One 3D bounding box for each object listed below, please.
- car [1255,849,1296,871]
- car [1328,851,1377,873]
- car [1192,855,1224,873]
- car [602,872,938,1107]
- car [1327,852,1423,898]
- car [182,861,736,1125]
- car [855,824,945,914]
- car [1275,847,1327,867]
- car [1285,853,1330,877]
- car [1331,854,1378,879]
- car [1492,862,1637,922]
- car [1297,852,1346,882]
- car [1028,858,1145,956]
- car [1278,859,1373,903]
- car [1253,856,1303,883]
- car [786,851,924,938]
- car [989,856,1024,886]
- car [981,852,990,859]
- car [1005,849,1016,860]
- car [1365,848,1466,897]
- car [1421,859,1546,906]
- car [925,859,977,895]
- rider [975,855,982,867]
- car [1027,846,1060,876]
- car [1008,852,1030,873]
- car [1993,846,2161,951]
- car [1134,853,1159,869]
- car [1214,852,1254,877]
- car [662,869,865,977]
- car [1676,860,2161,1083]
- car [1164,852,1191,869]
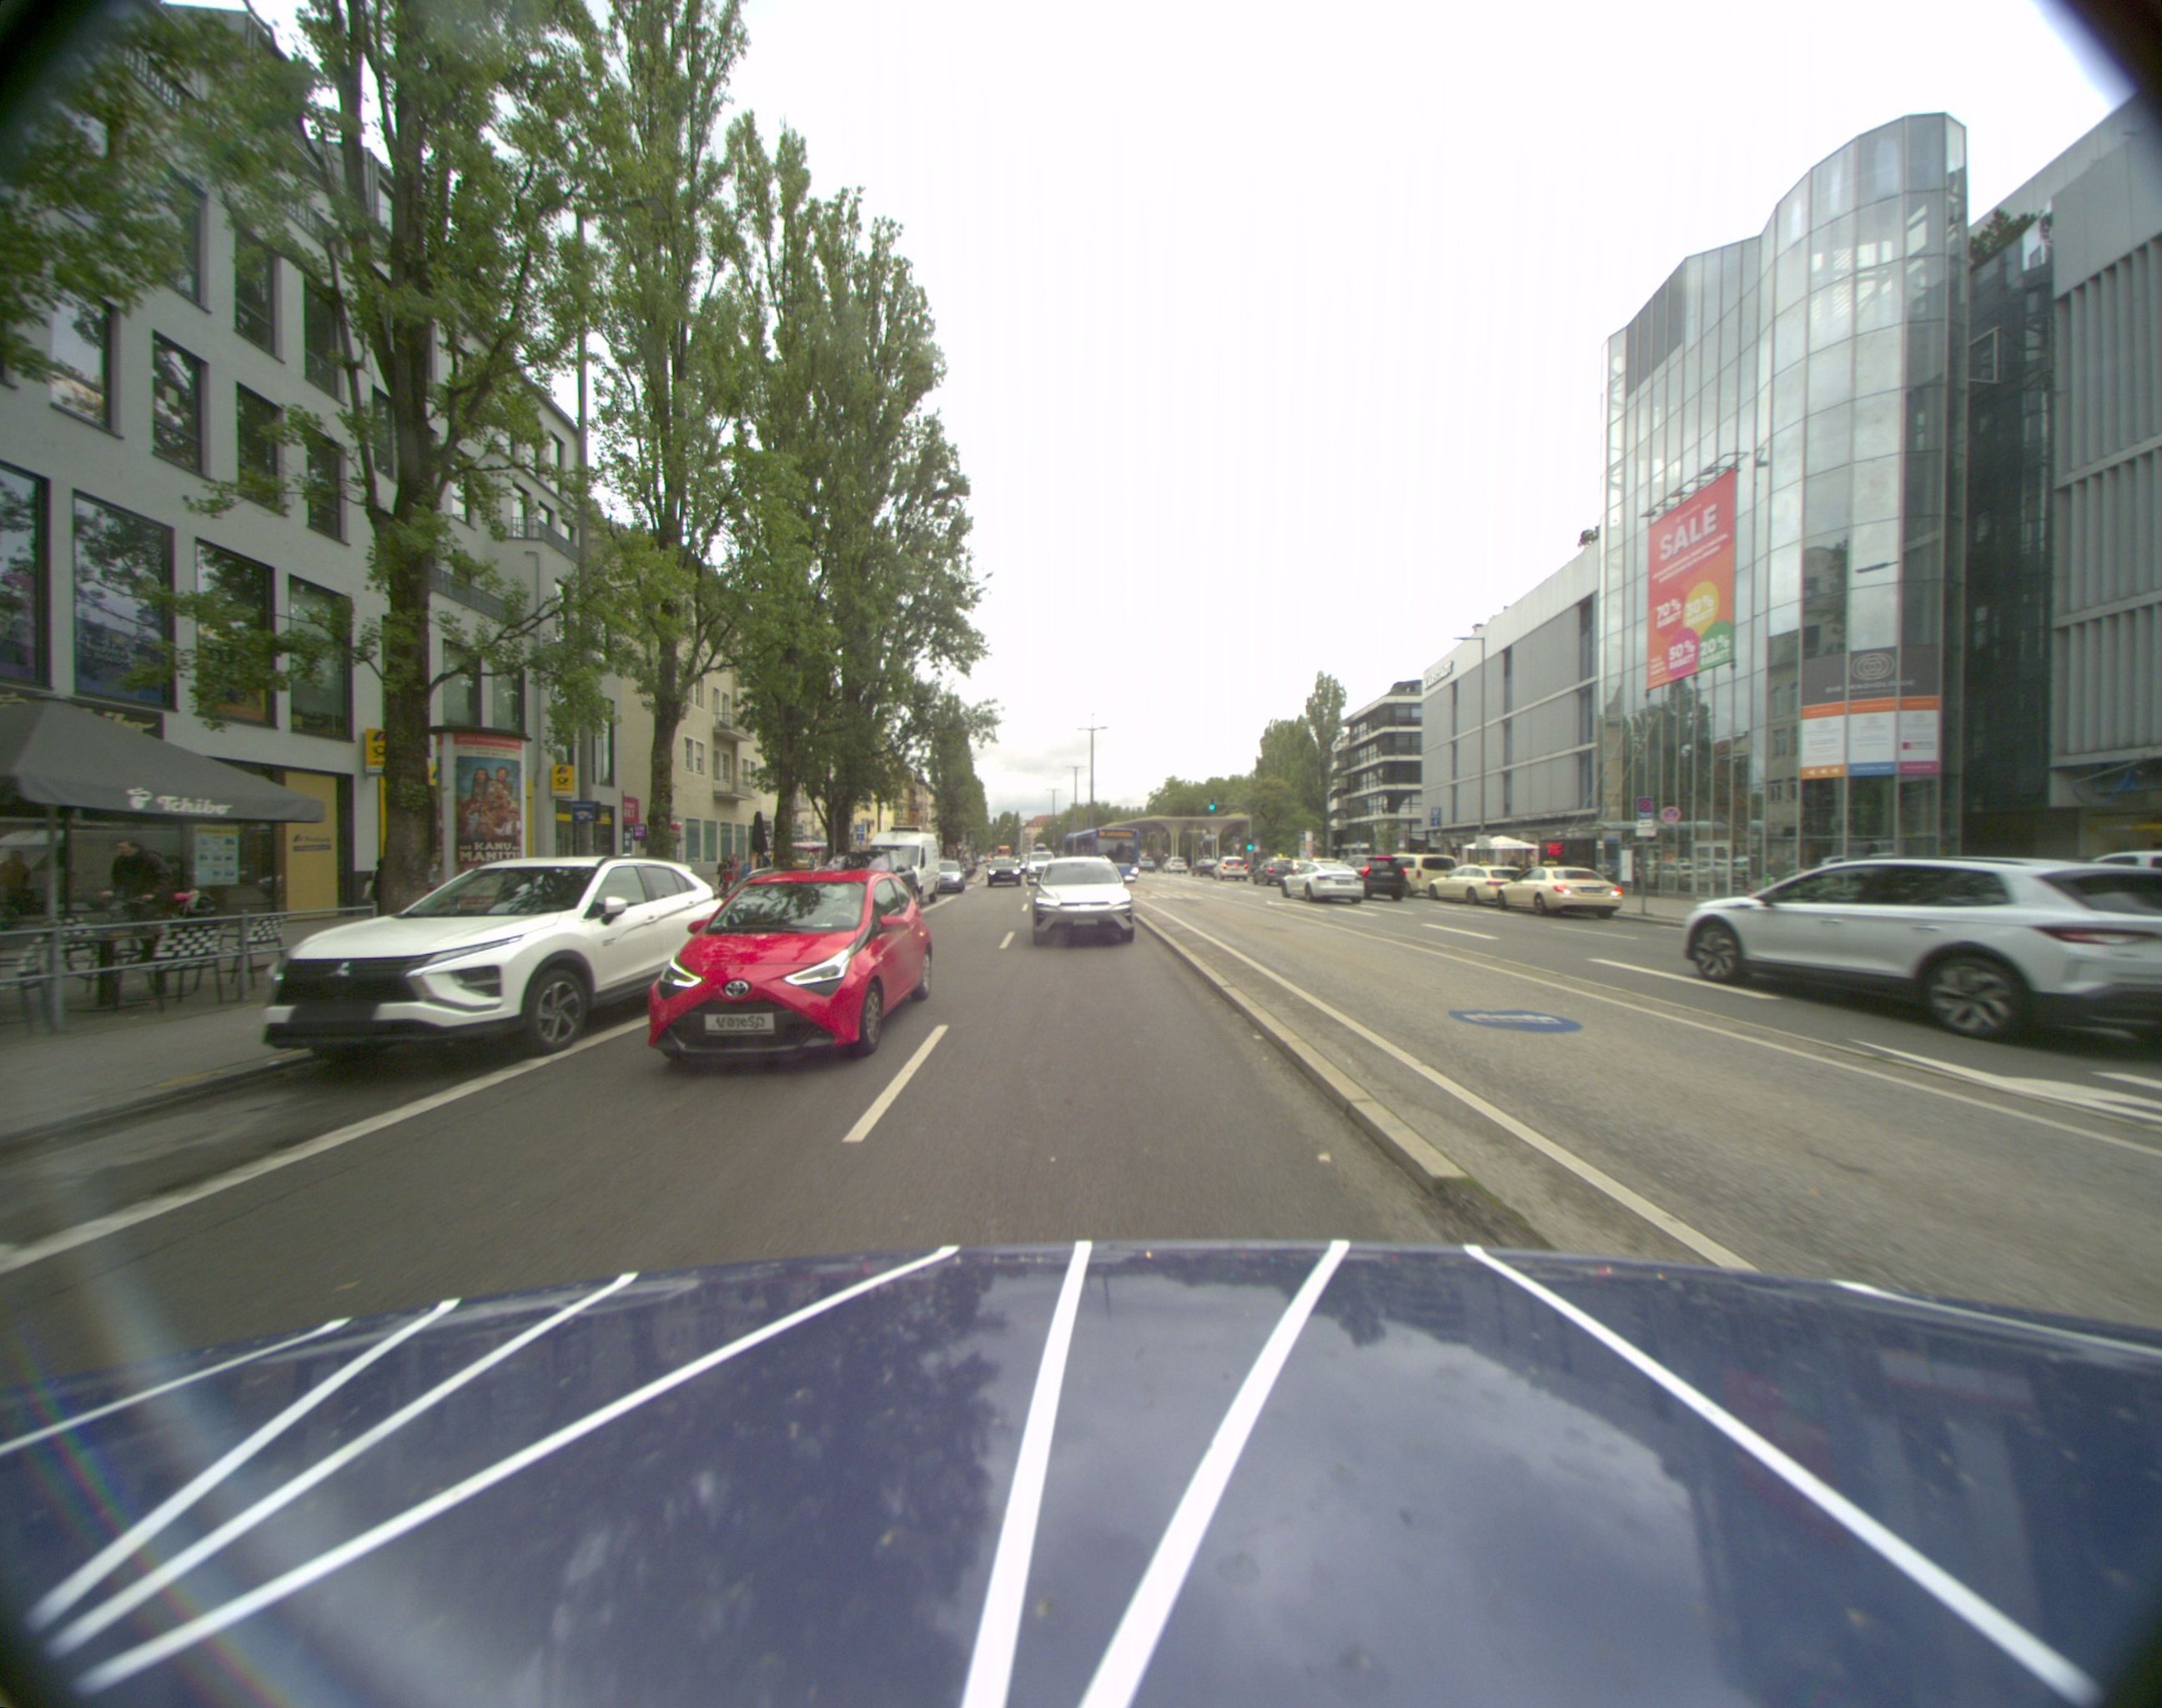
[{"bbox_3d":[14.960,0.454,58.639,1.592,1.602,4.474,0,0,-6],"label":"car"},{"bbox_3d":[19.472,0.562,54.665,1.912,1.558,3.998,0,0,-4],"label":"car"},{"bbox_3d":[10.312,0.771,61.992,1.734,1.401,4.687,0,0,-2],"label":"car"},{"bbox_3d":[-2.473,0.978,7.038,1.669,1.438,3.595,-1,1,-2],"label":"car"},{"bbox_3d":[11.769,0.790,30.821,2.023,1.706,4.982,0,0,1],"label":"car"},{"bbox_3d":[-5.155,0.949,7.295,1.731,1.676,4.407,-1,0,-1],"label":"car"},{"bbox_3d":[-6.037,0.415,26.057,1.999,2.726,5.552,-1,1,-3],"label":"car"},{"bbox_3d":[17.853,0.230,61.844,1.861,1.502,4.291,0,0,-19],"label":"car"},{"bbox_3d":[15.231,0.713,51.282,1.950,1.532,4.849,0,0,4],"label":"car"},{"bbox_3d":[17.542,0.797,48.946,1.756,1.527,4.001,0,0,3],"label":"car"},{"bbox_3d":[14.226,1.032,22.751,1.860,1.461,4.986,2,0,10],"label":"car"},{"bbox_3d":[14.485,0.743,46.029,1.889,1.689,4.384,2,0,6],"label":"car"},{"bbox_3d":[-0.042,0.878,14.560,1.897,1.483,3.998,-1,1,-4],"label":"car"},{"bbox_3d":[8.770,0.911,27.671,1.804,1.386,4.689,0,0,-2],"label":"car"},{"bbox_3d":[11.369,0.861,44.073,1.788,1.457,3.999,1,0,-1],"label":"car"},{"bbox_3d":[-5.308,0.859,18.575,1.934,1.794,4.779,-1,0,-1],"label":"car"},{"bbox_3d":[-4.090,0.877,41.274,1.741,1.461,4.047,-1,0,-7],"label":"car"},{"bbox_3d":[-22.379,0.436,178.314,1.999,1.630,3.998,0,0,-5],"label":"car"},{"bbox_3d":[-11.643,0.058,125.330,1.860,1.696,3.997,1,0,-6],"label":"car"},{"bbox_3d":[14.906,0.734,34.231,1.999,2.002,5.320,1,0,-2],"label":"car"},{"bbox_3d":[14.920,1.005,28.542,1.982,1.543,5.085,0,0,0],"label":"car"},{"bbox_3d":[-5.951,1.001,35.207,1.730,1.445,4.146,-2,0,-1],"label":"car"},{"bbox_3d":[-10.875,0.772,80.564,0.732,1.234,0.732,2,1,-8],"label":"rider"},{"bbox_3d":[-2.536,0.437,50.962,1.999,1.889,4.233,-1,1,-5],"label":"car"},{"bbox_3d":[-5.603,0.762,68.447,1.874,1.760,4.233,-1,1,-5],"label":"car"},{"bbox_3d":[21.661,0.857,14.716,1.998,2.002,5.113,0,0,4],"label":"car"},{"bbox_3d":[6.505,0.659,75.690,1.822,1.536,3.998,2,0,-4],"label":"car"},{"bbox_3d":[10.422,0.697,52.036,1.958,1.580,4.000,0,0,1],"label":"car"},{"bbox_3d":[-5.292,1.049,13.411,1.776,1.425,4.570,-2,0,-2],"label":"car"},{"bbox_3d":[8.722,0.890,7.760,1.914,1.594,4.355,0,0,1],"label":"car"},{"bbox_3d":[9.432,0.646,74.673,1.999,1.591,4.288,0,0,-2],"label":"car"}]
